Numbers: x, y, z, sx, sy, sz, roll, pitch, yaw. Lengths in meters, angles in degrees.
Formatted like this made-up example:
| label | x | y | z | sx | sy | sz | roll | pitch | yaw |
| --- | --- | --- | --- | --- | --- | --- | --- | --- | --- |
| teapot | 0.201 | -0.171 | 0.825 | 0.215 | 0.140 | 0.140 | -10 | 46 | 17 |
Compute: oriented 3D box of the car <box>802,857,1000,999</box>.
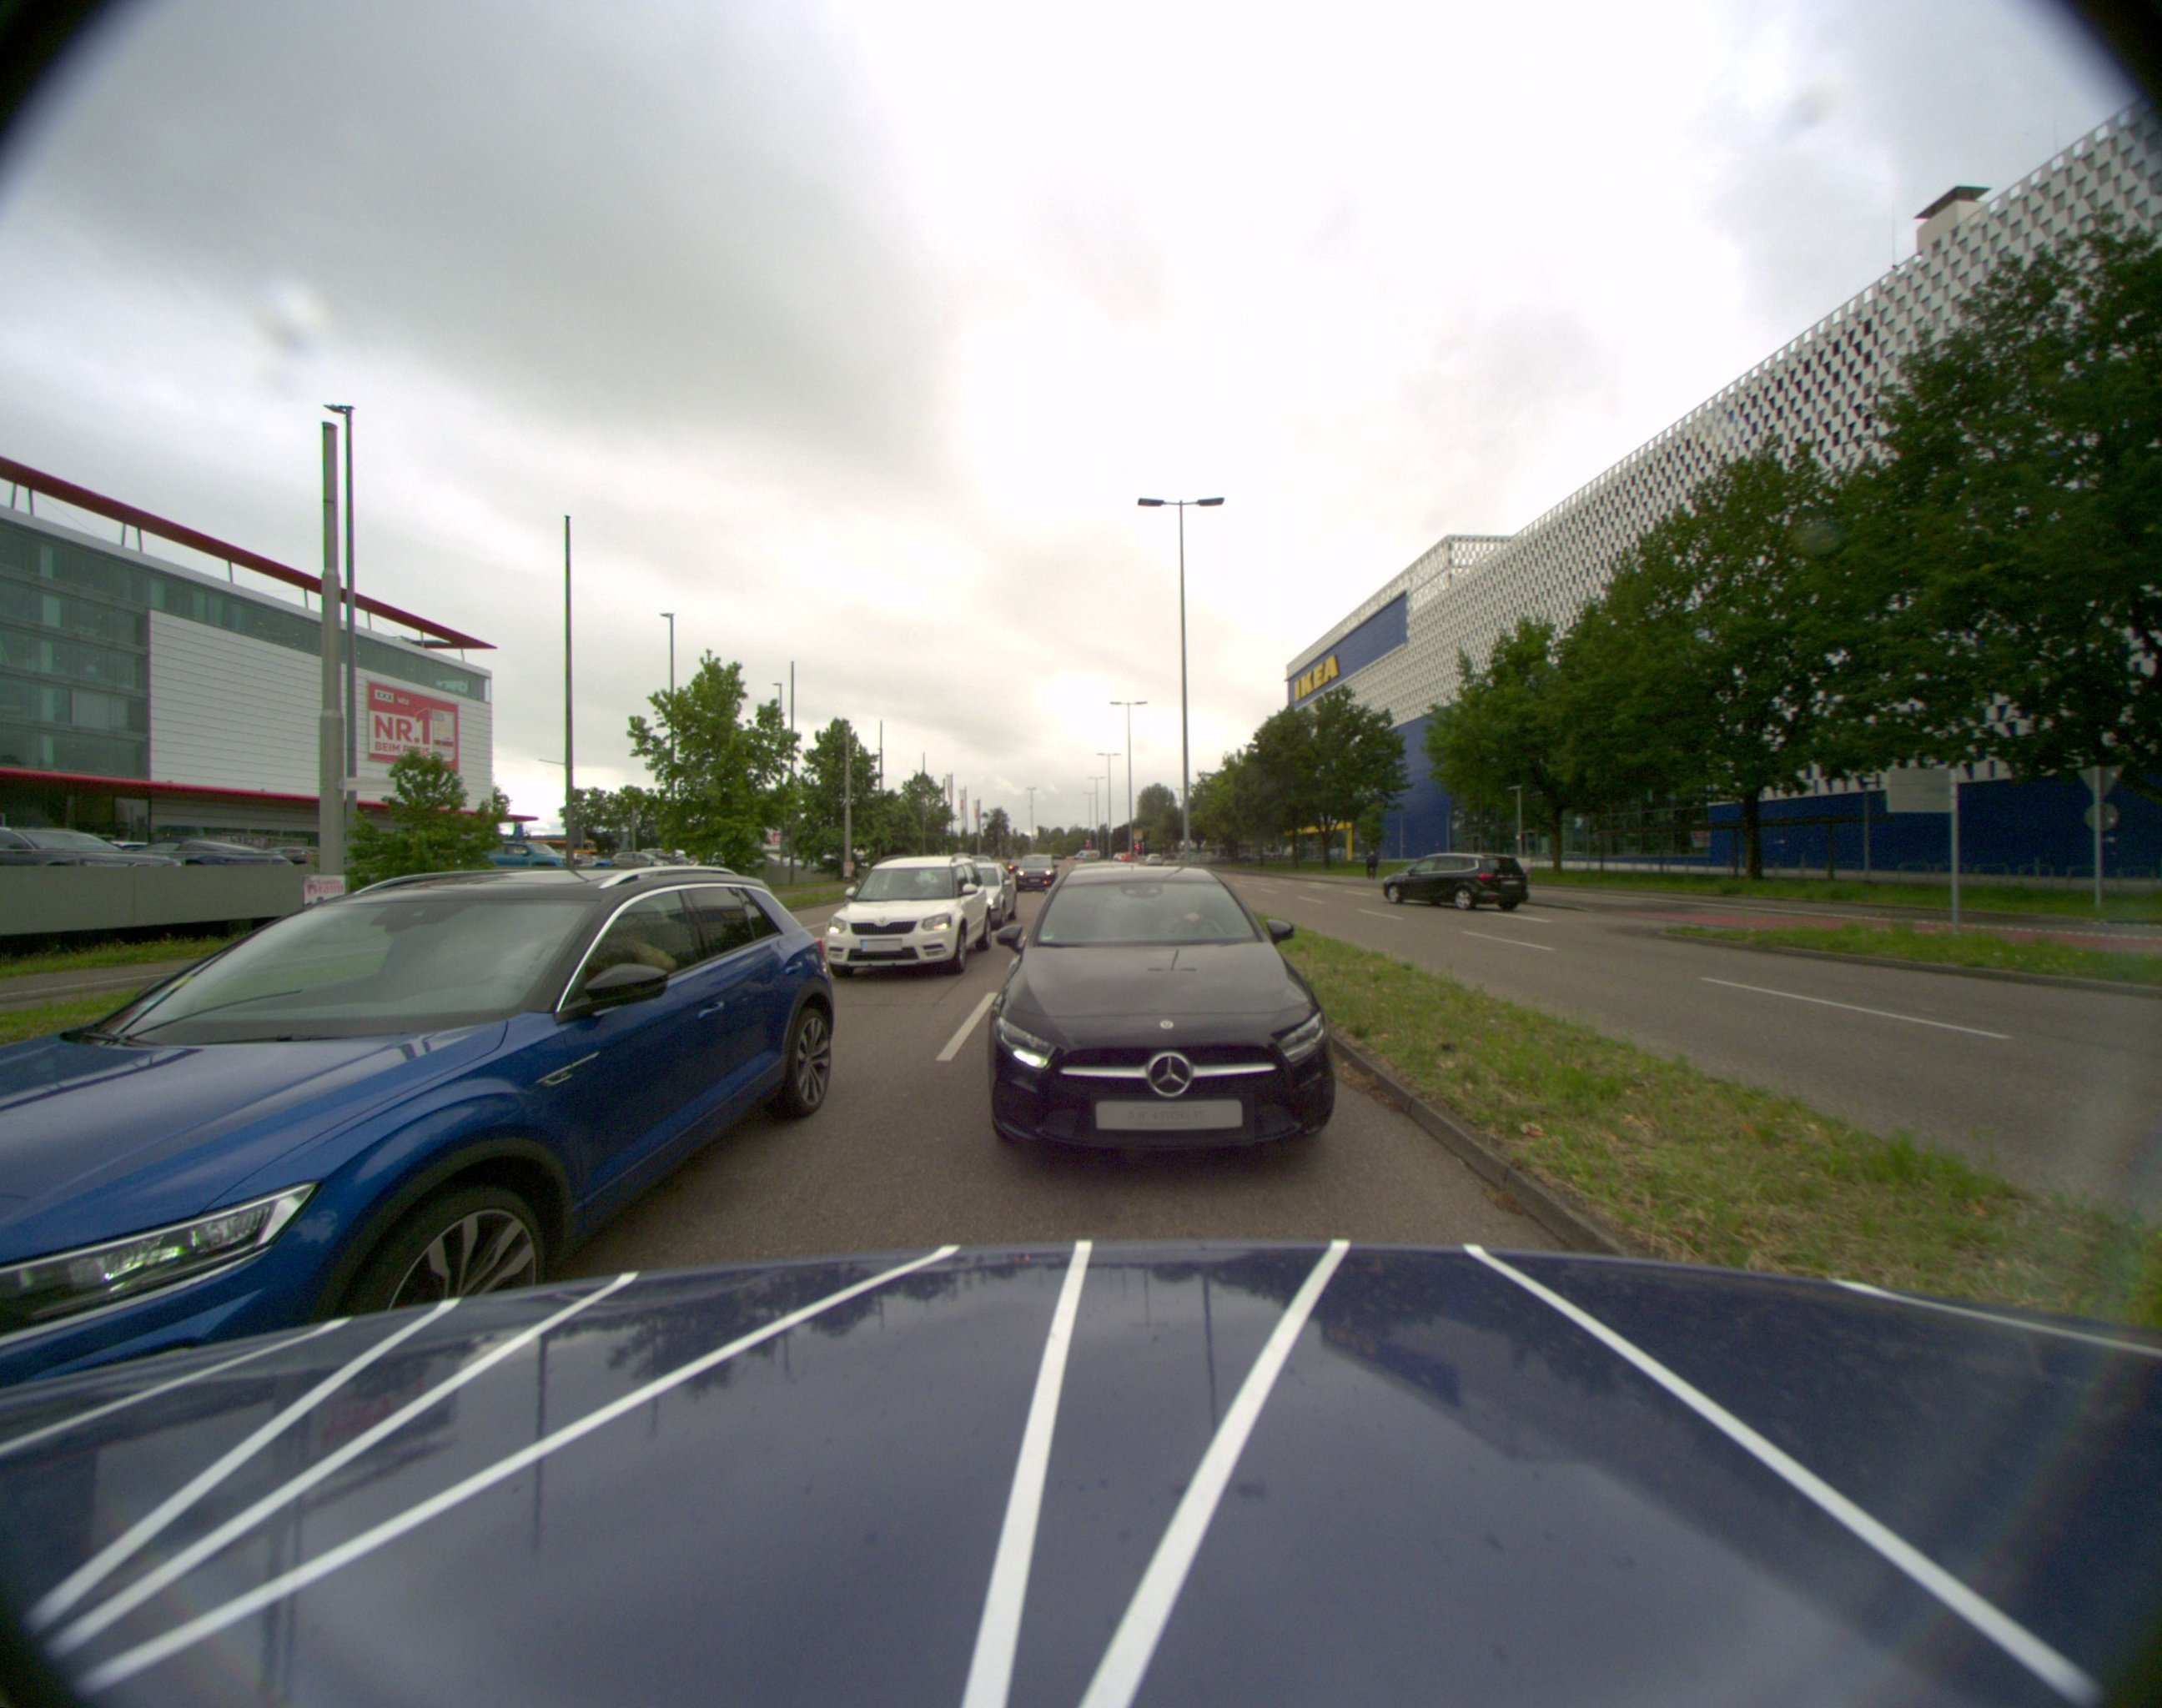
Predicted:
| label | x | y | z | sx | sy | sz | roll | pitch | yaw |
| --- | --- | --- | --- | --- | --- | --- | --- | --- | --- |
| car | -2.455 | 0.923 | 11.556 | 1.798 | 1.615 | 4.374 | -2 | 1 | 1 |

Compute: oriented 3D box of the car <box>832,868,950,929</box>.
| label | x | y | z | sx | sy | sz | roll | pitch | yaw |
| --- | --- | --- | --- | --- | --- | --- | --- | --- | --- |
| car | -4.984 | 1.116 | 20.665 | 1.816 | 1.402 | 4.879 | -2 | -1 | 2 |

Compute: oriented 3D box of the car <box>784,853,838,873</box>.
| label | x | y | z | sx | sy | sz | roll | pitch | yaw |
| --- | --- | --- | --- | --- | --- | --- | --- | --- | --- |
| car | -23.621 | 0.746 | 66.501 | 3.997 | 1.556 | 1.796 | -2 | 1 | 1 |

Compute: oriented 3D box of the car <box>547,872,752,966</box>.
| label | x | y | z | sx | sy | sz | roll | pitch | yaw |
| --- | --- | --- | --- | --- | --- | --- | --- | --- | --- |
| car | -7.999 | 1.127 | 14.555 | 1.694 | 1.364 | 3.925 | -2 | 1 | -1 |

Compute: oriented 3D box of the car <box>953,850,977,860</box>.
| label | x | y | z | sx | sy | sz | roll | pitch | yaw |
| --- | --- | --- | --- | --- | --- | --- | --- | --- | --- |
| car | -26.936 | 0.256 | 176.584 | 5.089 | 2.002 | 1.999 | -2 | 1 | -2 |

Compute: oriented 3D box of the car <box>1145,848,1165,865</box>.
| label | x | y | z | sx | sy | sz | roll | pitch | yaw |
| --- | --- | --- | --- | --- | --- | --- | --- | --- | --- |
| car | 9.002 | 0.296 | 92.435 | 1.847 | 1.875 | 3.924 | -2 | 1 | -1 |

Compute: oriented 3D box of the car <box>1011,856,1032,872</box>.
| label | x | y | z | sx | sy | sz | roll | pitch | yaw |
| --- | --- | --- | --- | --- | --- | --- | --- | --- | --- |
| car | -6.368 | 1.068 | 81.402 | 1.801 | 1.564 | 4.221 | -2 | -2 | 1 |

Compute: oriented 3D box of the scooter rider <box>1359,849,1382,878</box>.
| label | x | y | z | sx | sy | sz | roll | pitch | yaw |
| --- | --- | --- | --- | --- | --- | --- | --- | --- | --- |
| scooter rider | 17.238 | 0.563 | 45.208 | 0.798 | 1.710 | 1.038 | -2 | 1 | -16 |

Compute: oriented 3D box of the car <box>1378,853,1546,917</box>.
| label | x | y | z | sx | sy | sz | roll | pitch | yaw |
| --- | --- | --- | --- | --- | --- | --- | --- | --- | --- |
| car | 11.252 | 0.847 | 22.802 | 1.850 | 1.646 | 4.352 | 1 | 1 | -21 |

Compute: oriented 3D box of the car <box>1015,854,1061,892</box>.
| label | x | y | z | sx | sy | sz | roll | pitch | yaw |
| --- | --- | --- | --- | --- | --- | --- | --- | --- | --- |
| car | -1.961 | 0.848 | 35.885 | 1.801 | 1.565 | 4.218 | -2 | 1 | 1 |

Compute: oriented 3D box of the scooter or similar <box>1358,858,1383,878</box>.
| label | x | y | z | sx | sy | sz | roll | pitch | yaw |
| --- | --- | --- | --- | --- | --- | --- | --- | --- | --- |
| scooter or similar | 17.222 | 0.832 | 45.227 | 0.590 | 1.119 | 1.423 | -5 | 2 | -16 |

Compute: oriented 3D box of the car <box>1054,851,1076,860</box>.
| label | x | y | z | sx | sy | sz | roll | pitch | yaw |
| --- | --- | --- | --- | --- | --- | --- | --- | --- | --- |
| car | -3.729 | 0.418 | 180.056 | 5.089 | 2.002 | 1.999 | -2 | 1 | -2 |

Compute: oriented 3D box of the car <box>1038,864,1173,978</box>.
| label | x | y | z | sx | sy | sz | roll | pitch | yaw |
| --- | --- | --- | --- | --- | --- | --- | --- | --- | --- |
| car | 0.364 | 0.925 | 12.352 | 1.767 | 1.370 | 4.258 | -2 | 1 | 1 |

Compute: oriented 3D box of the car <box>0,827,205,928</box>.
| label | x | y | z | sx | sy | sz | roll | pitch | yaw |
| --- | --- | --- | --- | --- | --- | --- | --- | --- | --- |
| car | -22.603 | 0.521 | 16.536 | 4.529 | 2.002 | 1.999 | -2 | 1 | -2 |

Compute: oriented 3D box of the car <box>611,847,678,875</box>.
| label | x | y | z | sx | sy | sz | roll | pitch | yaw |
| --- | --- | --- | --- | --- | --- | --- | --- | --- | --- |
| car | -33.819 | 0.518 | 58.952 | 3.997 | 2.002 | 1.999 | -2 | 1 | -2 |

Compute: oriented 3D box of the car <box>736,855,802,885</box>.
| label | x | y | z | sx | sy | sz | roll | pitch | yaw |
| --- | --- | --- | --- | --- | --- | --- | --- | --- | --- |
| car | -23.242 | 1.165 | 56.664 | 3.997 | 2.002 | 2.000 | -2 | 1 | 0 |

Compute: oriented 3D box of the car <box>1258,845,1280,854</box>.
| label | x | y | z | sx | sy | sz | roll | pitch | yaw |
| --- | --- | --- | --- | --- | --- | --- | --- | --- | --- |
| car | 39.568 | -0.981 | 159.613 | 3.999 | 1.805 | 1.998 | -2 | 1 | -7 |

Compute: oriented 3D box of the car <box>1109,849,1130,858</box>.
| label | x | y | z | sx | sy | sz | roll | pitch | yaw |
| --- | --- | --- | --- | --- | --- | --- | --- | --- | --- |
| car | 7.857 | -0.069 | 153.847 | 3.999 | 1.786 | 1.999 | 0 | 0 | -6 |

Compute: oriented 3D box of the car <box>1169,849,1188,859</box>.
| label | x | y | z | sx | sy | sz | roll | pitch | yaw |
| --- | --- | --- | --- | --- | --- | --- | --- | --- | --- |
| car | 22.194 | 0.025 | 172.690 | 3.997 | 2.002 | 1.999 | -2 | 1 | -2 |

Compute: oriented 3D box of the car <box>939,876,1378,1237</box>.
| label | x | y | z | sx | sy | sz | roll | pitch | yaw |
| --- | --- | --- | --- | --- | --- | --- | --- | --- | --- |
| car | 0.365 | 0.943 | 5.411 | 1.859 | 1.426 | 4.197 | -2 | 0 | 1 |

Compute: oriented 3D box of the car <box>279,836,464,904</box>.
| label | x | y | z | sx | sy | sz | roll | pitch | yaw |
| --- | --- | --- | --- | --- | --- | --- | --- | --- | --- |
| car | -23.049 | 0.494 | 24.827 | 3.997 | 2.002 | 1.999 | -2 | 1 | -2 |

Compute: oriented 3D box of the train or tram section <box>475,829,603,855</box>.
| label | x | y | z | sx | sy | sz | roll | pitch | yaw |
| --- | --- | --- | --- | --- | --- | --- | --- | --- | --- |
| train or tram section | -112.431 | -2.529 | 158.000 | 23.275 | 4.811 | 3.631 | -1 | 1 | -3 |

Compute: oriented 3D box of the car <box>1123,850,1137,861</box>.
| label | x | y | z | sx | sy | sz | roll | pitch | yaw |
| --- | --- | --- | --- | --- | --- | --- | --- | --- | --- |
| car | 8.252 | 0.185 | 128.200 | 1.847 | 1.709 | 3.924 | -2 | 1 | -1 |

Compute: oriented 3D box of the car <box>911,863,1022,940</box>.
| label | x | y | z | sx | sy | sz | roll | pitch | yaw |
| --- | --- | --- | --- | --- | --- | --- | --- | --- | --- |
| car | -2.491 | 0.994 | 17.538 | 1.801 | 1.407 | 4.218 | -2 | 1 | 1 |

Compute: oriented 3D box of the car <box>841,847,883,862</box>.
| label | x | y | z | sx | sy | sz | roll | pitch | yaw |
| --- | --- | --- | --- | --- | --- | --- | --- | --- | --- |
| car | -24.160 | 0.055 | 83.977 | 3.997 | 1.556 | 1.796 | -2 | 1 | 1 |

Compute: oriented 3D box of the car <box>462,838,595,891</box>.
| label | x | y | z | sx | sy | sz | roll | pitch | yaw |
| --- | --- | --- | --- | --- | --- | --- | --- | --- | --- |
| car | -23.159 | 0.416 | 31.997 | 3.997 | 2.002 | 1.999 | -2 | 1 | -2 |

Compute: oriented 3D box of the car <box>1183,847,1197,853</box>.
| label | x | y | z | sx | sy | sz | roll | pitch | yaw |
| --- | --- | --- | --- | --- | --- | --- | --- | --- | --- |
| car | 34.277 | -1.159 | 238.933 | 4.290 | 1.813 | 1.743 | -2 | 1 | -3 |

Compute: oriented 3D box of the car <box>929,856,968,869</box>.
| label | x | y | z | sx | sy | sz | roll | pitch | yaw |
| --- | --- | --- | --- | --- | --- | --- | --- | --- | --- |
| car | -15.577 | 0.998 | 89.279 | 4.216 | 1.407 | 1.802 | -2 | 1 | 0 |

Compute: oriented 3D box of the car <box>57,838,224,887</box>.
| label | x | y | z | sx | sy | sz | roll | pitch | yaw |
| --- | --- | --- | --- | --- | --- | --- | --- | --- | --- |
| car | -37.609 | 0.325 | 30.493 | 3.998 | 1.729 | 1.999 | -2 | 1 | -2 |

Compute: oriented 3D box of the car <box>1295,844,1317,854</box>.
| label | x | y | z | sx | sy | sz | roll | pitch | yaw |
| --- | --- | --- | --- | --- | --- | --- | --- | --- | --- |
| car | 47.520 | -1.091 | 160.615 | 3.999 | 1.805 | 1.998 | -2 | 1 | -7 |

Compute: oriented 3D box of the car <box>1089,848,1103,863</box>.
| label | x | y | z | sx | sy | sz | roll | pitch | yaw |
| --- | --- | --- | --- | --- | --- | --- | --- | --- | --- |
| car | 2.368 | 0.248 | 118.672 | 1.999 | 2.206 | 3.999 | 0 | 0 | -2 |

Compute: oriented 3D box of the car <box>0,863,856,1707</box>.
| label | x | y | z | sx | sy | sz | roll | pitch | yaw |
| --- | --- | --- | --- | --- | --- | --- | --- | --- | --- |
| car | -2.582 | 0.927 | 3.155 | 1.846 | 1.612 | 4.332 | -2 | 1 | 1 |

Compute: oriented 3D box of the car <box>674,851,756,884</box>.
| label | x | y | z | sx | sy | sz | roll | pitch | yaw |
| --- | --- | --- | --- | --- | --- | --- | --- | --- | --- |
| car | -24.040 | 0.868 | 49.975 | 4.324 | 2.002 | 1.999 | -2 | 1 | -2 |

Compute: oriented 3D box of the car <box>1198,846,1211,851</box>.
| label | x | y | z | sx | sy | sz | roll | pitch | yaw |
| --- | --- | --- | --- | --- | --- | --- | --- | --- | --- |
| car | 38.899 | -1.689 | 239.185 | 3.565 | 1.630 | 1.743 | -2 | 1 | -3 |

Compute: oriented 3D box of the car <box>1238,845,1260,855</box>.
| label | x | y | z | sx | sy | sz | roll | pitch | yaw |
| --- | --- | --- | --- | --- | --- | --- | --- | --- | --- |
| car | 30.331 | -0.712 | 137.077 | 3.565 | 1.630 | 1.743 | -2 | 1 | -3 |

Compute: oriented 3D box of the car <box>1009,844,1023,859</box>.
| label | x | y | z | sx | sy | sz | roll | pitch | yaw |
| --- | --- | --- | --- | --- | --- | --- | --- | --- | --- |
| car | -10.240 | -0.403 | 119.937 | 1.999 | 2.229 | 3.999 | 0 | 0 | -2 |

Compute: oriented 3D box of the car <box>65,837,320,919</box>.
| label | x | y | z | sx | sy | sz | roll | pitch | yaw |
| --- | --- | --- | --- | --- | --- | --- | --- | --- | --- |
| car | -22.648 | 0.573 | 19.526 | 3.998 | 1.838 | 1.999 | -2 | 1 | -2 |

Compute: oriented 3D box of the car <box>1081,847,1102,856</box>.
| label | x | y | z | sx | sy | sz | roll | pitch | yaw |
| --- | --- | --- | --- | --- | --- | --- | --- | --- | --- |
| car | 2.404 | -0.620 | 177.776 | 4.708 | 2.002 | 1.999 | -2 | 1 | -2 |
